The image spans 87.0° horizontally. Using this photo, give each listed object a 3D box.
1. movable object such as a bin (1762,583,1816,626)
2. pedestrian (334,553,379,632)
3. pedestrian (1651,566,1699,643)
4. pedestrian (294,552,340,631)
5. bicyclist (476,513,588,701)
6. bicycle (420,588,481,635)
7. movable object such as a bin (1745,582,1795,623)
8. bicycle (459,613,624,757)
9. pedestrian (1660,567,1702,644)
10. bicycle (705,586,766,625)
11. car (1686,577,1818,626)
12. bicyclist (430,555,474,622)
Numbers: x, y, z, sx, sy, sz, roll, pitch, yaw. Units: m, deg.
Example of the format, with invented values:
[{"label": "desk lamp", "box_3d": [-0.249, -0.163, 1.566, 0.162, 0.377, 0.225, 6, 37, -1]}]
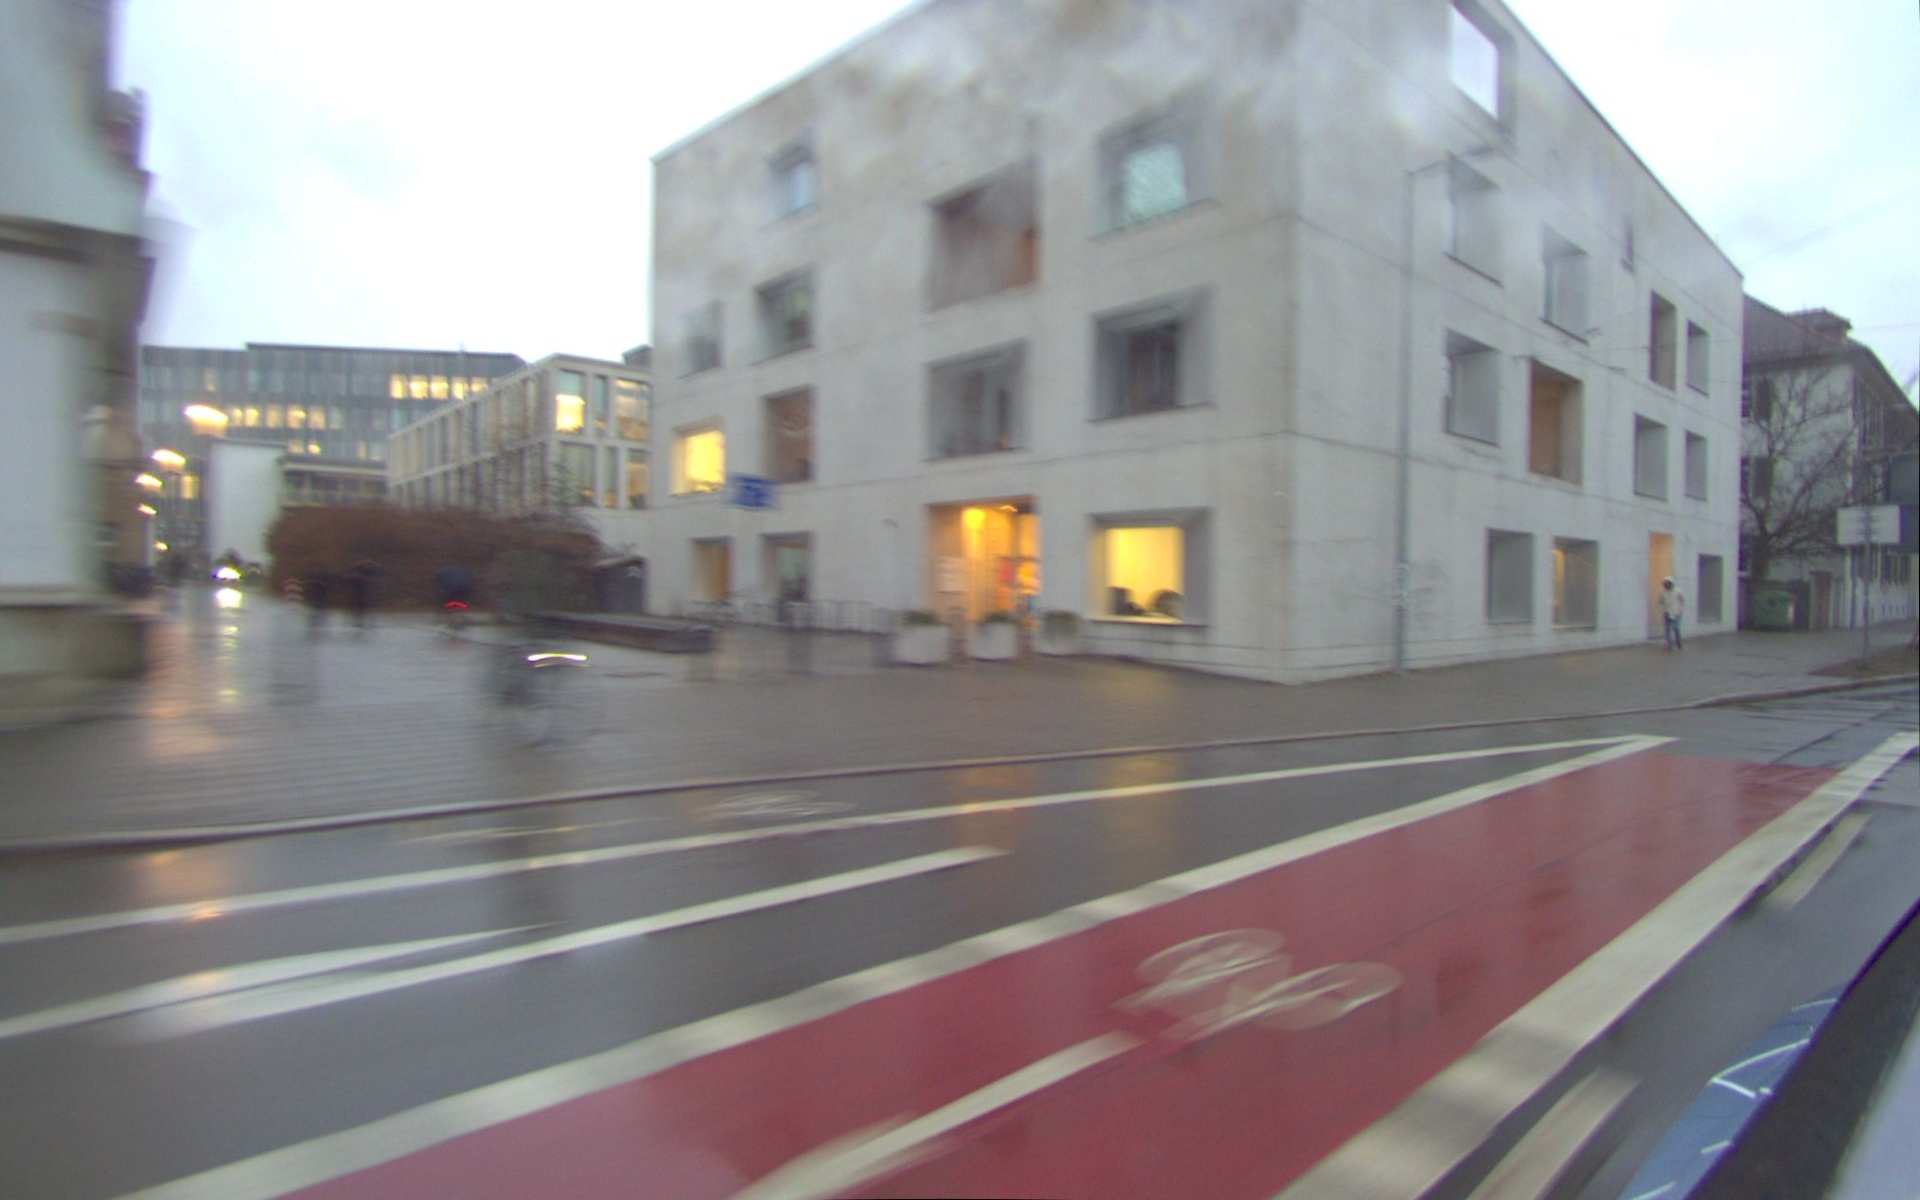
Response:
[{"label": "movable object such as a bin", "box_3d": [29.092, 0.128, 35.510, 1.394, 1.464, 1.258, -1, 1, -41]}, {"label": "pedestrian", "box_3d": [-13.272, -0.177, 22.255, 0.735, 1.705, 0.779, 1, 1, -40]}, {"label": "pedestrian", "box_3d": [17.810, 0.091, 25.208, 0.705, 1.881, 0.773, -1, 2, -39]}, {"label": "pedestrian", "box_3d": [-13.850, -0.196, 21.787, 0.735, 1.664, 0.779, 1, 1, -40]}, {"label": "bicyclist", "box_3d": [-3.936, 0.033, 9.293, 0.766, 1.614, 0.857, -1, 3, -36]}, {"label": "bicycle", "box_3d": [-10.973, 0.255, 21.755, 0.887, 0.958, 2.019, -1, -1, -35]}, {"label": "movable object such as a bin", "box_3d": [29.923, 0.065, 37.379, 1.395, 1.464, 1.257, -1, 2, -44]}, {"label": "bicycle", "box_3d": [-3.971, 0.720, 9.483, 0.927, 0.955, 2.123, -1, 6, -37]}, {"label": "pedestrian", "box_3d": [17.898, 0.116, 25.126, 0.648, 1.882, 0.657, -1, 2, -40]}, {"label": "bicycle", "box_3d": [-5.848, 0.136, 26.436, 1.526, 0.992, 0.408, -1, 1, -38]}, {"label": "car", "box_3d": [28.465, 0.060, 36.440, 1.702, 1.668, 3.454, -1, -1, -41]}, {"label": "bicyclist", "box_3d": [-11.001, -0.241, 21.915, 0.723, 1.428, 0.861, -1, -1, -35]}]
